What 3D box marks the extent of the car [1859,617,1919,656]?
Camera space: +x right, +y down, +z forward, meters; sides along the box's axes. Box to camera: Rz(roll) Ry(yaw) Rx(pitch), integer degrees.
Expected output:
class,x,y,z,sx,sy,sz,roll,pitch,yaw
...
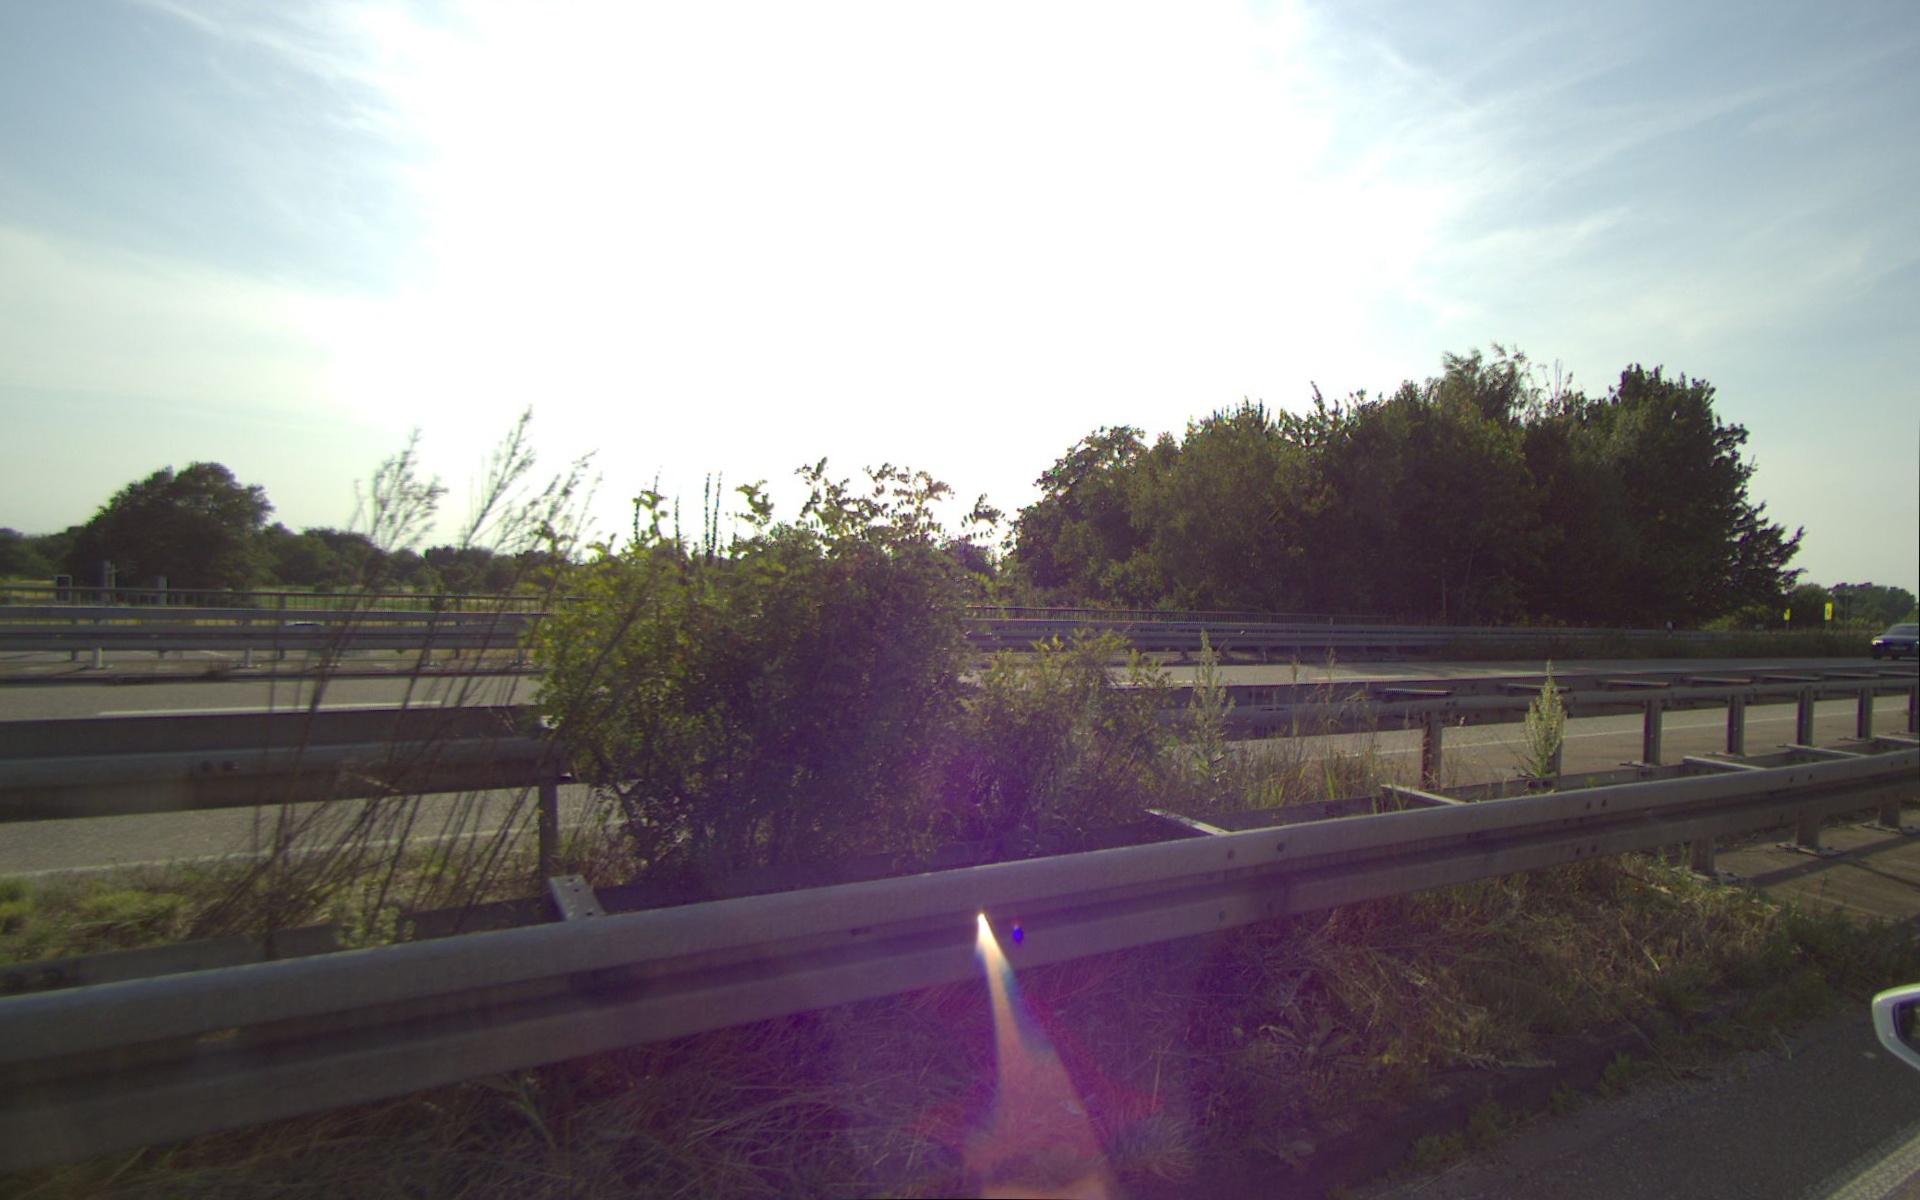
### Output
class,x,y,z,sx,sy,sz,roll,pitch,yaw
car,38.036,1.446,40.312,4.063,1.472,1.942,1,-1,-34
